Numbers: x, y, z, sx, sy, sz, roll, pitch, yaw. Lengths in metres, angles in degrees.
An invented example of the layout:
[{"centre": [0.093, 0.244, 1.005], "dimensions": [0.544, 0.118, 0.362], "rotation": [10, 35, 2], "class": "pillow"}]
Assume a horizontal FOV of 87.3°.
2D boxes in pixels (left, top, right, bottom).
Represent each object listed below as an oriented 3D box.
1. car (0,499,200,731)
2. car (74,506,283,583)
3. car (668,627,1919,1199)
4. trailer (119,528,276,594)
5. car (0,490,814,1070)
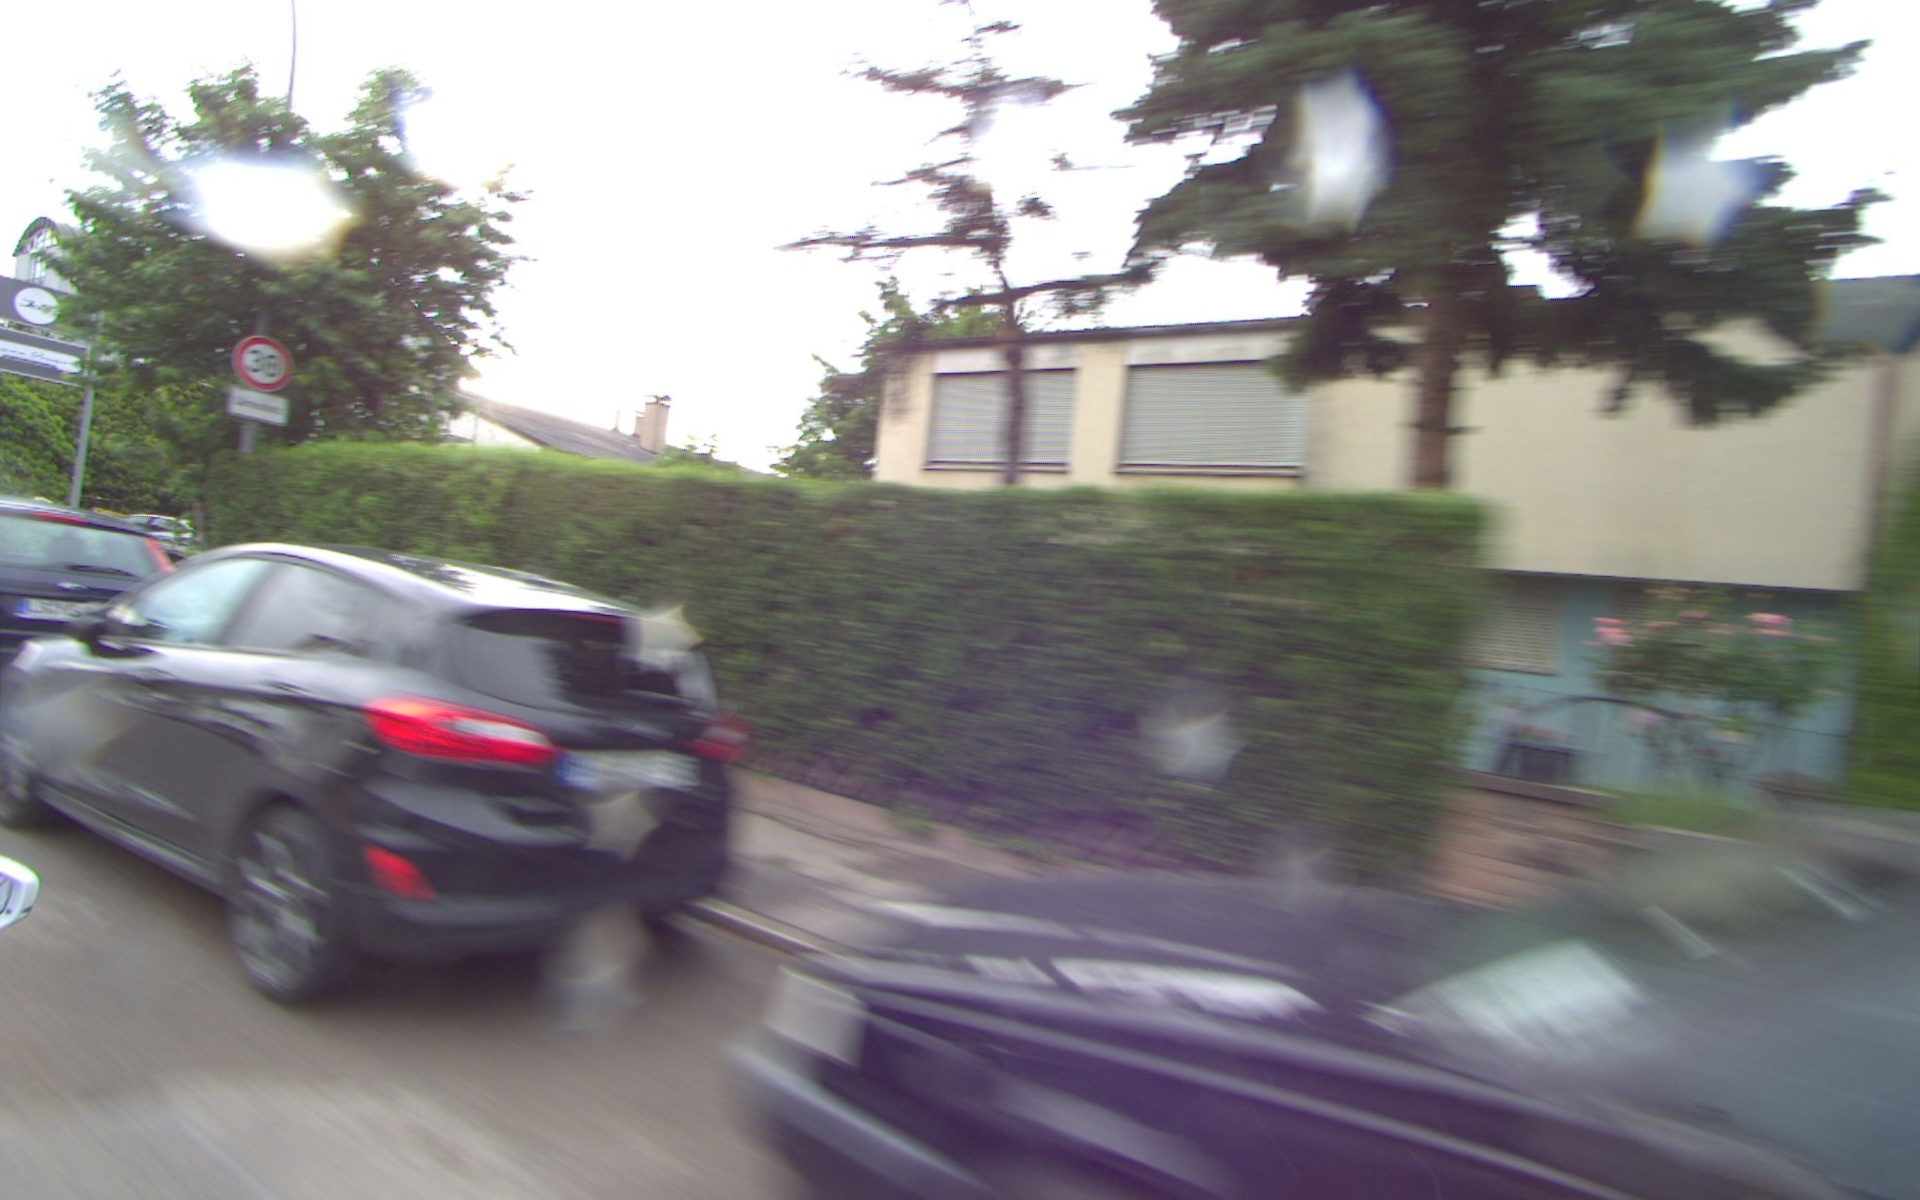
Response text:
[{"centre": [-7.482, -0.059, 7.517], "dimensions": [3.743, 1.455, 1.490], "rotation": [7, -2, 31], "class": "car"}, {"centre": [-20.248, -1.396, 26.221], "dimensions": [3.892, 1.416, 1.537], "rotation": [7, 0, -13], "class": "car"}, {"centre": [1.890, 1.073, 1.604], "dimensions": [4.695, 1.435, 1.661], "rotation": [6, -2, 29], "class": "car"}, {"centre": [-17.666, -0.907, 23.269], "dimensions": [3.842, 1.071, 1.541], "rotation": [6, -2, 32], "class": "trailer"}, {"centre": [-2.730, 0.480, 4.527], "dimensions": [3.765, 1.466, 1.661], "rotation": [7, -2, 31], "class": "car"}]
